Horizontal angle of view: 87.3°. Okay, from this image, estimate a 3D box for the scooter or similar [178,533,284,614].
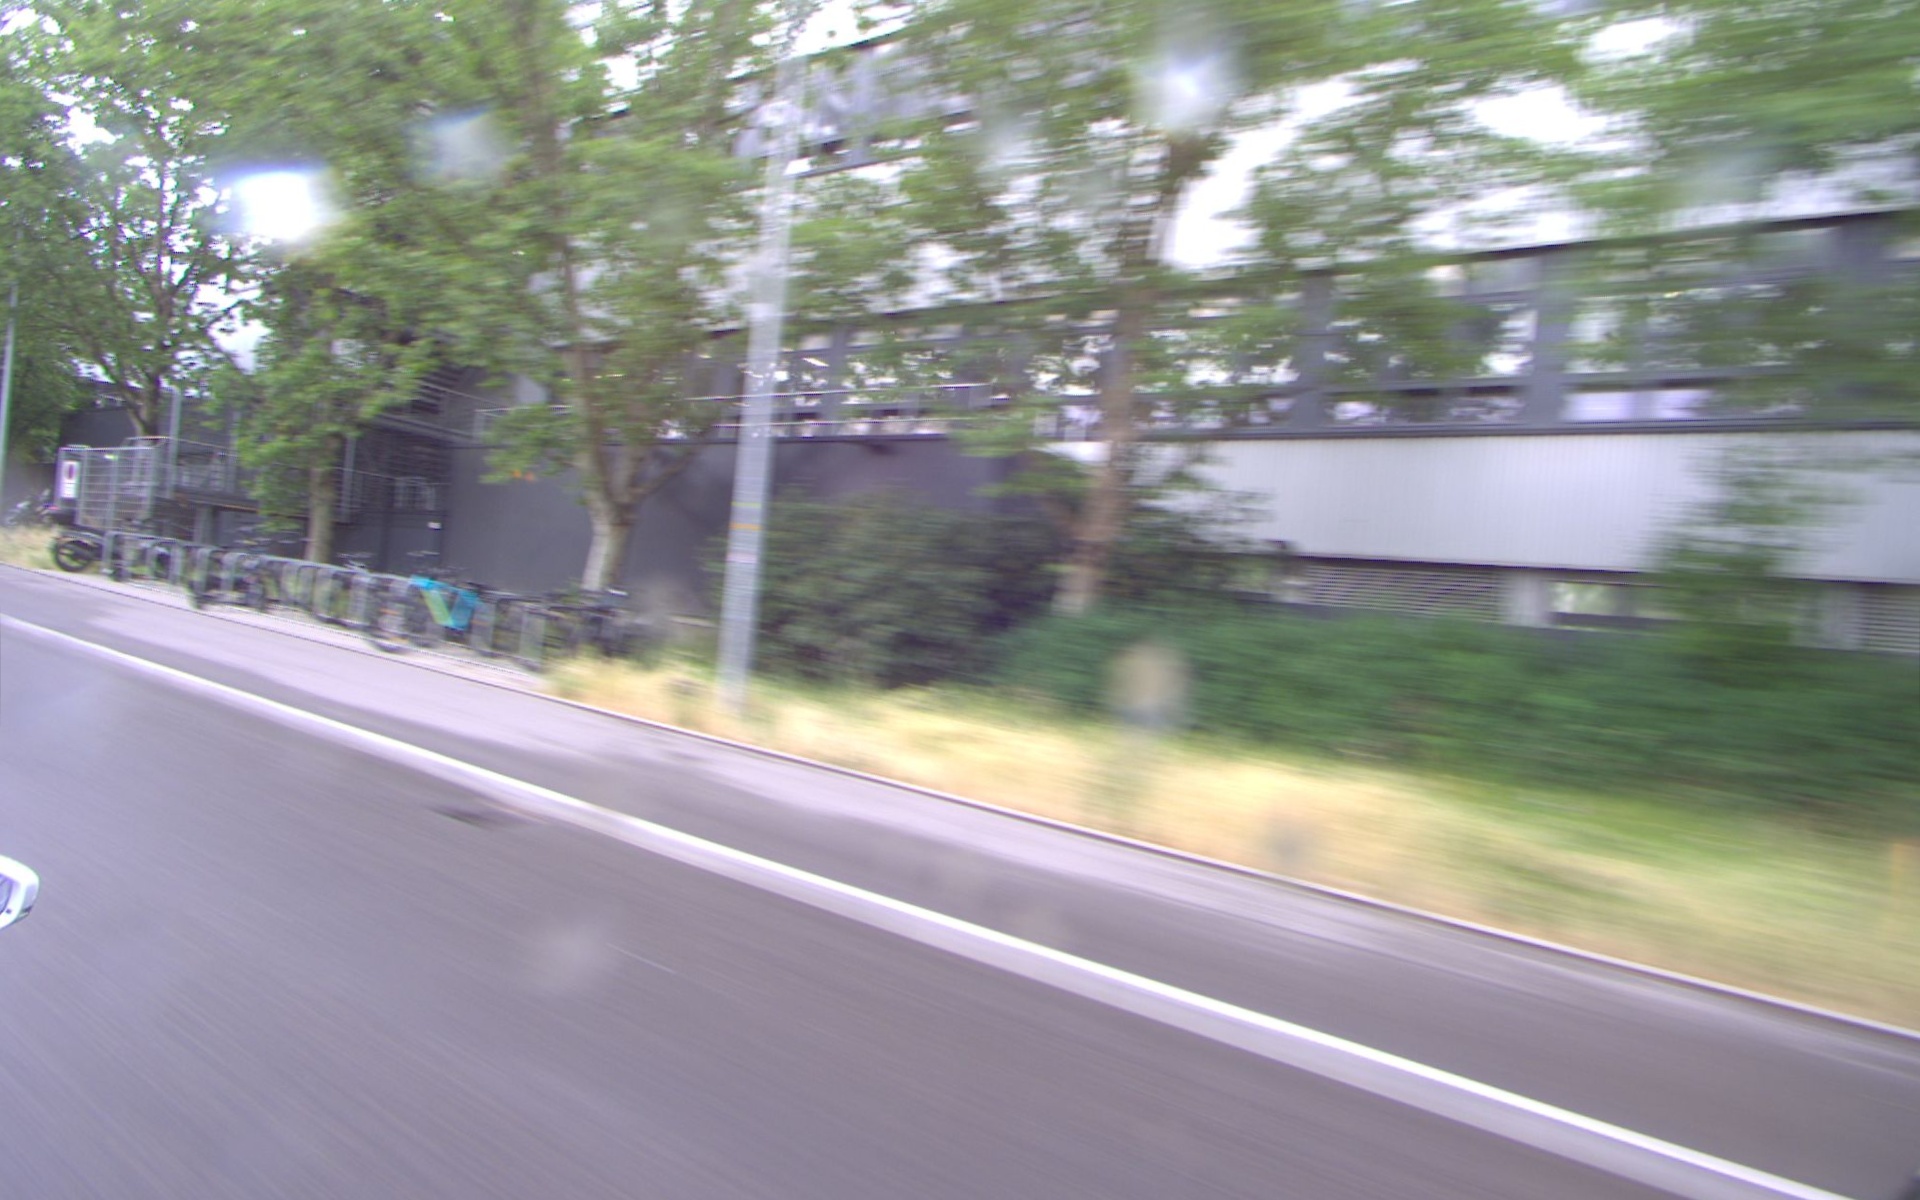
[{"bbox_3d":[-10.907,-0.375,15.081,0.307,1.105,1.215,7,1,27],"label":"scooter or similar"}]

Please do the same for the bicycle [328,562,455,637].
[{"bbox_3d":[-8.236,0.014,14.631,0.387,0.970,1.553,7,1,31],"label":"bicycle"}]

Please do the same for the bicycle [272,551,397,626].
[{"bbox_3d":[-9.493,-0.153,15.320,0.387,1.018,1.553,7,1,31],"label":"bicycle"}]

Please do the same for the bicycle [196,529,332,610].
[{"bbox_3d":[-11.462,-0.475,16.627,0.440,1.182,1.792,7,1,25],"label":"bicycle"}]

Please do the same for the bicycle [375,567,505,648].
[{"bbox_3d":[-7.149,0.124,13.895,0.387,1.018,1.553,7,1,31],"label":"bicycle"}]

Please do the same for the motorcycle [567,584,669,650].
[{"bbox_3d":[-5.846,0.310,17.272,0.567,1.014,1.609,7,1,31],"label":"motorcycle"}]

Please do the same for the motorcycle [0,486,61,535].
[{"bbox_3d":[-31.097,-2.972,33.531,1.488,1.381,0.502,8,-1,-31],"label":"motorcycle"}]

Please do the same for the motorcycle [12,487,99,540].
[{"bbox_3d":[-29.356,-2.781,32.691,0.497,1.380,1.934,6,-2,26],"label":"motorcycle"}]

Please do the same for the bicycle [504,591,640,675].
[{"bbox_3d":[-4.783,0.433,12.510,0.381,0.951,1.609,7,1,31],"label":"bicycle"}]

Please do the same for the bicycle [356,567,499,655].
[{"bbox_3d":[-6.700,0.166,12.737,0.387,1.018,1.553,7,1,31],"label":"bicycle"}]

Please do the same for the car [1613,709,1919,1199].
[{"bbox_3d":[3.308,1.157,0.754,4.564,1.487,1.747,6,-1,31],"label":"car"}]

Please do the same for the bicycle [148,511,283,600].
[{"bbox_3d":[-12.854,-0.743,17.439,0.439,1.365,1.863,6,1,19],"label":"bicycle"}]

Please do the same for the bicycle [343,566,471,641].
[{"bbox_3d":[-7.890,0.070,14.420,0.387,0.970,1.553,7,1,31],"label":"bicycle"}]

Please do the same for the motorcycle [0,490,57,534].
[{"bbox_3d":[-32.642,-3.067,34.828,0.484,1.272,1.915,6,-2,37],"label":"motorcycle"}]

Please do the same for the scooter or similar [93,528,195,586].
[{"bbox_3d":[-14.960,-0.770,18.485,0.359,0.948,1.478,6,0,14],"label":"scooter or similar"}]

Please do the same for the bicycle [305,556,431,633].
[{"bbox_3d":[-8.770,-0.058,14.967,0.387,1.018,1.553,7,1,31],"label":"bicycle"}]

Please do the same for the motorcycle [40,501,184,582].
[{"bbox_3d":[-16.127,-1.091,19.181,0.435,1.289,2.003,7,1,43],"label":"motorcycle"}]
